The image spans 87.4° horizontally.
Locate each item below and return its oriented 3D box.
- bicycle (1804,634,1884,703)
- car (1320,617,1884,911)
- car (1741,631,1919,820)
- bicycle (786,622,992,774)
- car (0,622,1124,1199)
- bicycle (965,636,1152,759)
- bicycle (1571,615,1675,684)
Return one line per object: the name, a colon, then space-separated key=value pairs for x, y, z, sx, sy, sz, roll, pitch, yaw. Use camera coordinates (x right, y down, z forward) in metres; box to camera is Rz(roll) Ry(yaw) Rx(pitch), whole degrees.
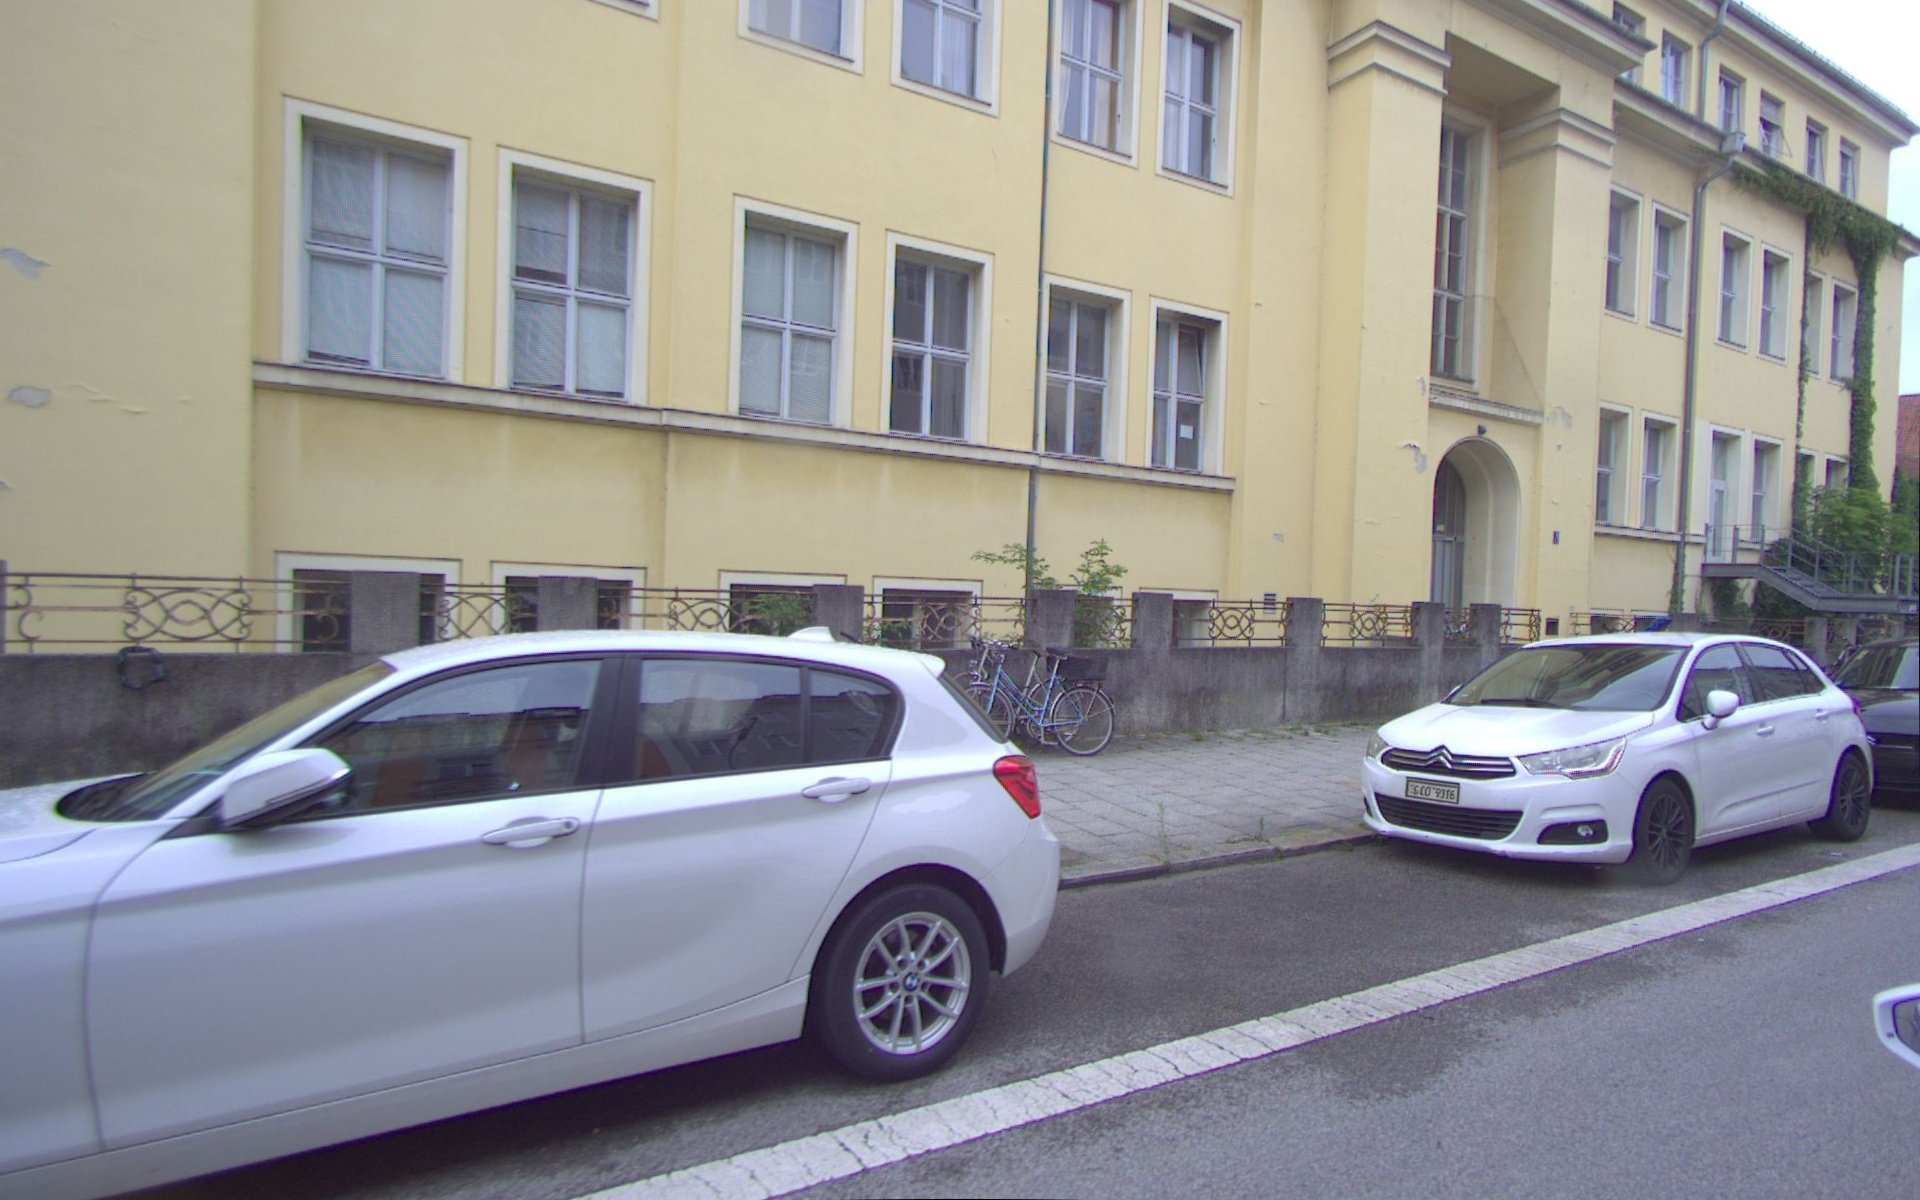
bicycle: x=16.586 y=1.278 z=18.838 sx=1.543 sy=1.205 sz=0.574 roll=2 pitch=3 yaw=-30
car: x=4.603 y=0.935 z=7.086 sx=4.039 sy=1.547 sz=1.715 roll=1 pitch=-2 yaw=-30
car: x=9.201 y=1.059 z=9.388 sx=3.939 sy=1.515 sz=1.672 roll=1 pitch=-2 yaw=-30
bicycle: x=-0.621 y=0.834 z=8.892 sx=1.695 sy=1.214 sz=0.583 roll=1 pitch=2 yaw=-27
car: x=-1.500 y=0.805 z=3.318 sx=3.953 sy=1.416 sz=1.666 roll=2 pitch=-3 yaw=-32
bicycle: x=0.959 y=0.934 z=9.805 sx=1.690 sy=1.092 sz=0.585 roll=2 pitch=2 yaw=-18
bicycle: x=13.129 y=0.957 z=19.930 sx=0.572 sy=1.205 sz=1.549 roll=2 pitch=3 yaw=-30
